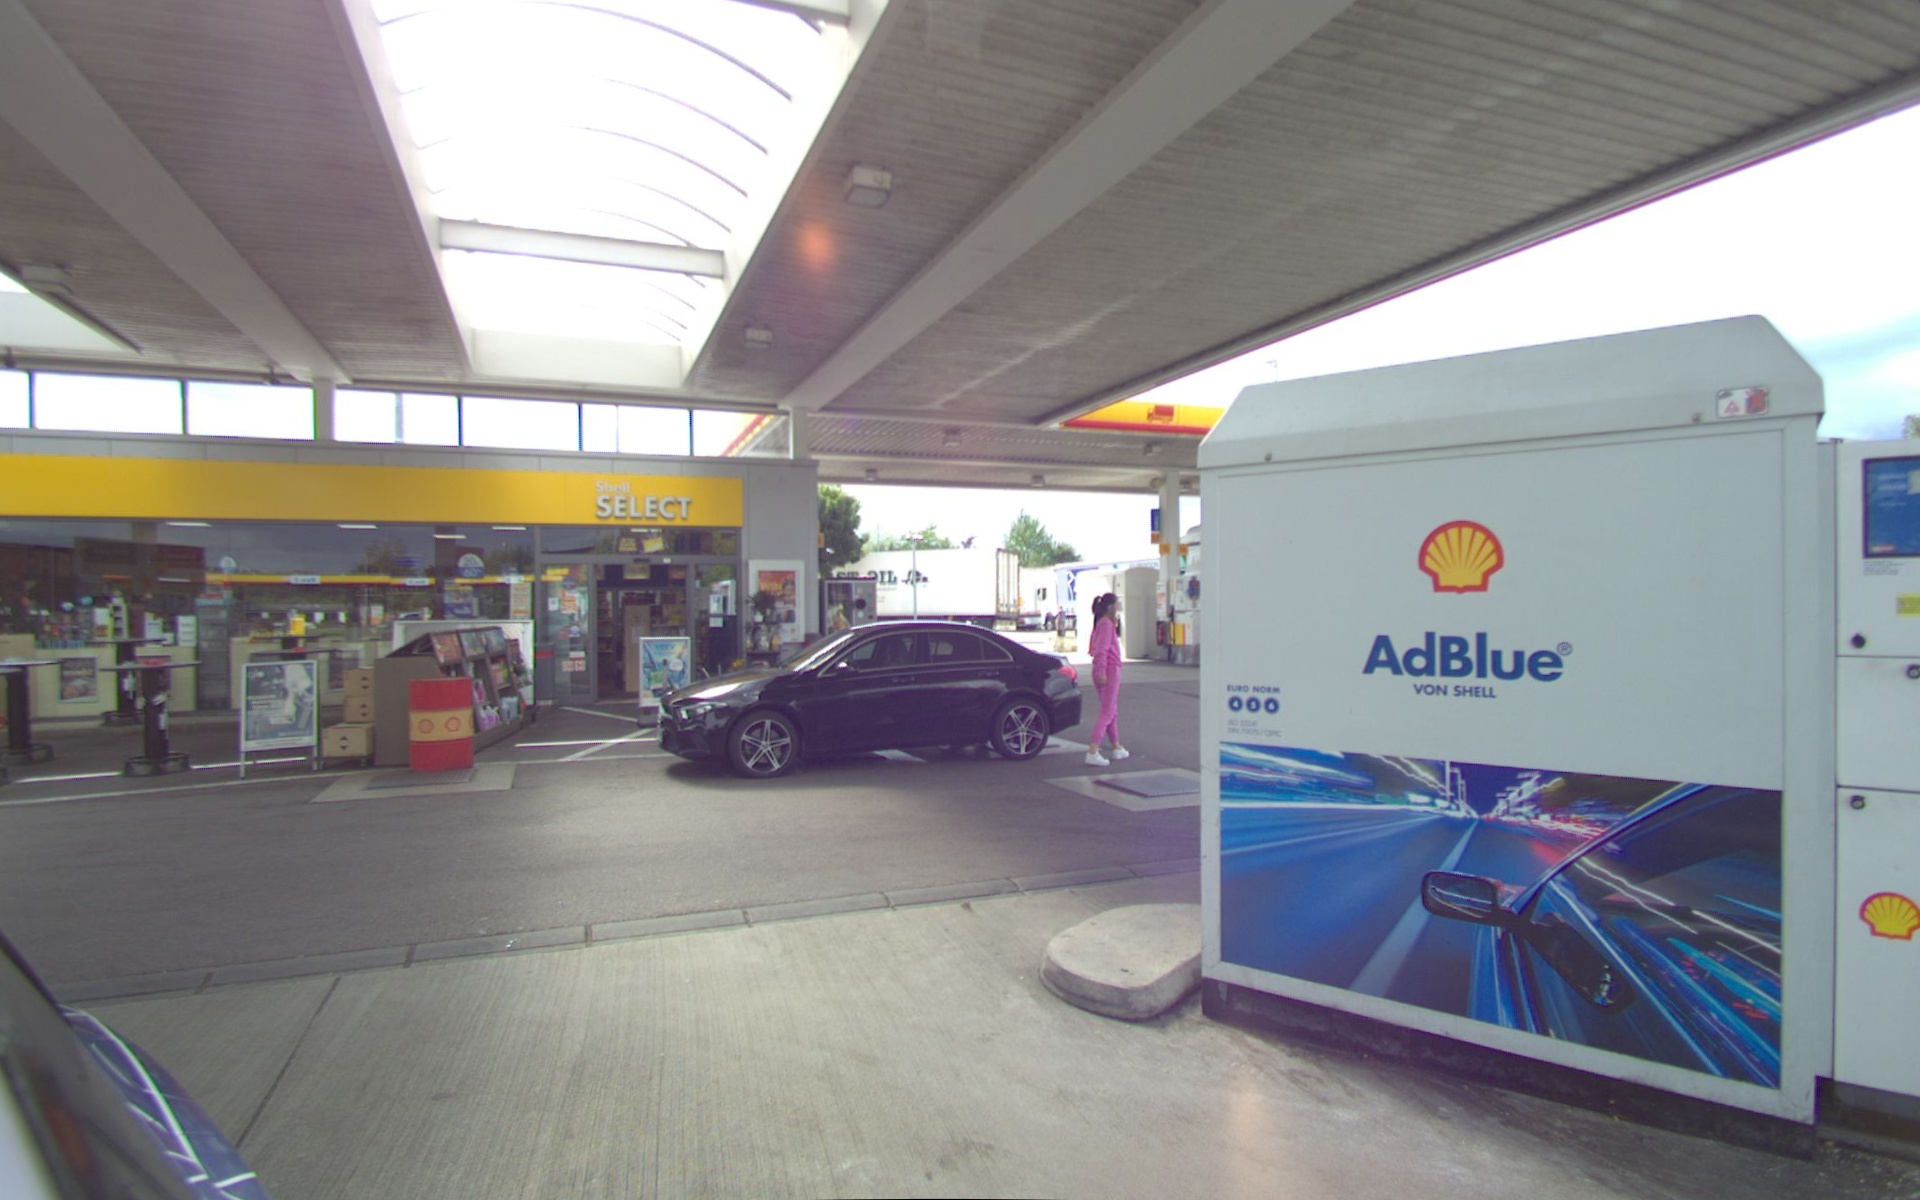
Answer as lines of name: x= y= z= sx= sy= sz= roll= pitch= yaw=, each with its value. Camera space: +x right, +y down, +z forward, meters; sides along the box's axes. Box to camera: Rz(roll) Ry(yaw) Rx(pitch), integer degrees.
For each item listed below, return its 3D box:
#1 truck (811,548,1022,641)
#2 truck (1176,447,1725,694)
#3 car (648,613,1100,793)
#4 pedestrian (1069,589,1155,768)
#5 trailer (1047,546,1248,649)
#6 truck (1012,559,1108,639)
truck: x=-2.087 y=-0.186 z=46.828 sx=9.536 sy=4.036 sz=2.772 roll=-1 pitch=0 yaw=25
truck: x=9.670 y=-0.471 z=23.089 sx=2.491 sy=4.069 sz=12.947 roll=-1 pitch=0 yaw=-22
car: x=-0.911 y=0.938 z=10.666 sx=4.394 sy=1.511 sz=1.785 roll=-1 pitch=0 yaw=-21
pedestrian: x=1.518 y=0.757 z=10.148 sx=0.612 sy=1.726 sz=0.629 roll=-1 pitch=0 yaw=-19
trailer: x=9.122 y=-0.107 z=52.660 sx=3.294 sy=4.600 sz=14.397 roll=-1 pitch=0 yaw=-20
truck: x=5.945 y=-0.056 z=61.209 sx=3.333 sy=4.538 sz=6.249 roll=-1 pitch=0 yaw=-20
